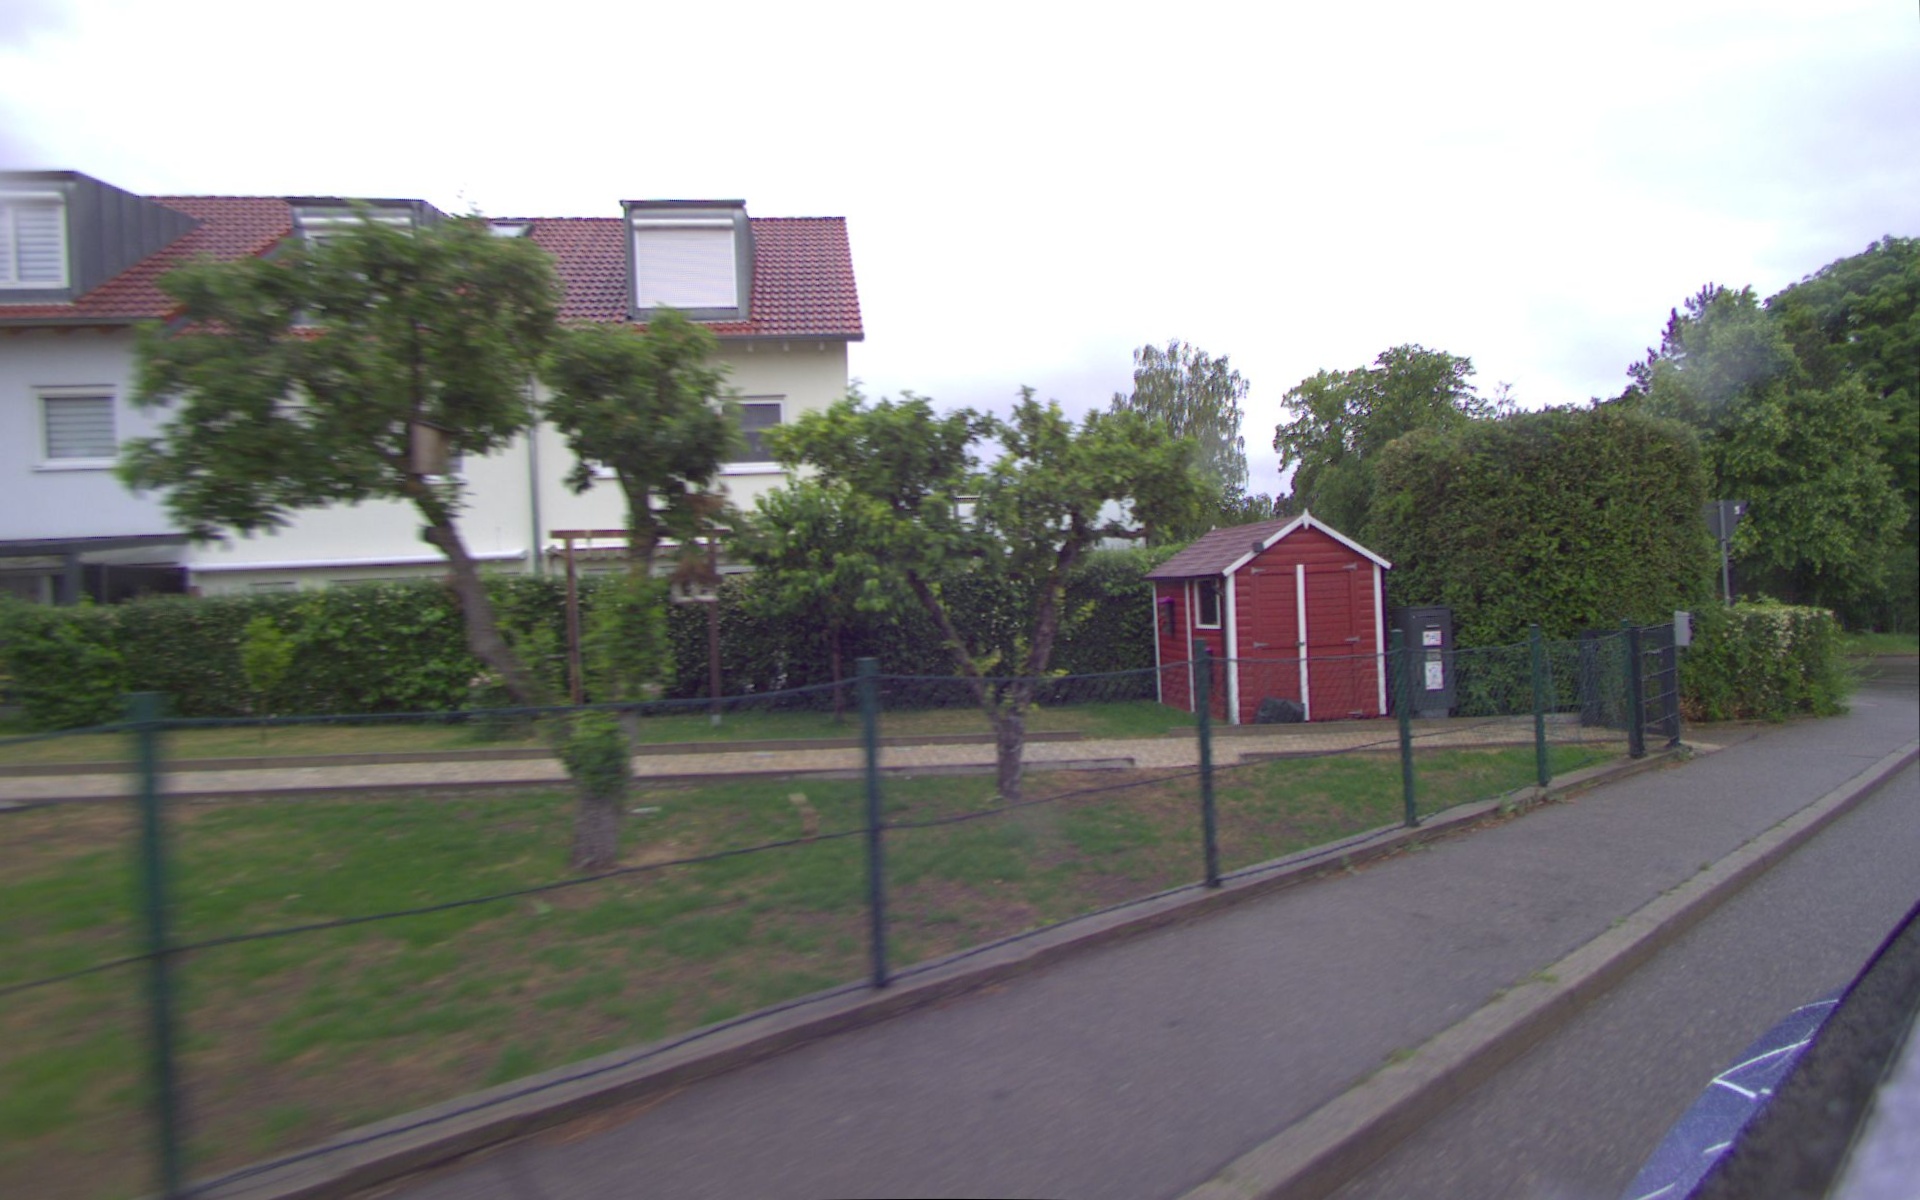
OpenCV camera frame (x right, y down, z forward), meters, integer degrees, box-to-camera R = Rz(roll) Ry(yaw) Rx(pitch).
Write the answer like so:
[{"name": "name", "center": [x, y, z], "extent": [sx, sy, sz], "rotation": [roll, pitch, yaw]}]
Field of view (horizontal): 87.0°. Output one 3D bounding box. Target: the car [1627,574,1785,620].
[{"name": "car", "center": [25.005, -0.133, 34.104], "extent": [1.815, 1.473, 4.009], "rotation": [0, 1, -16]}]
